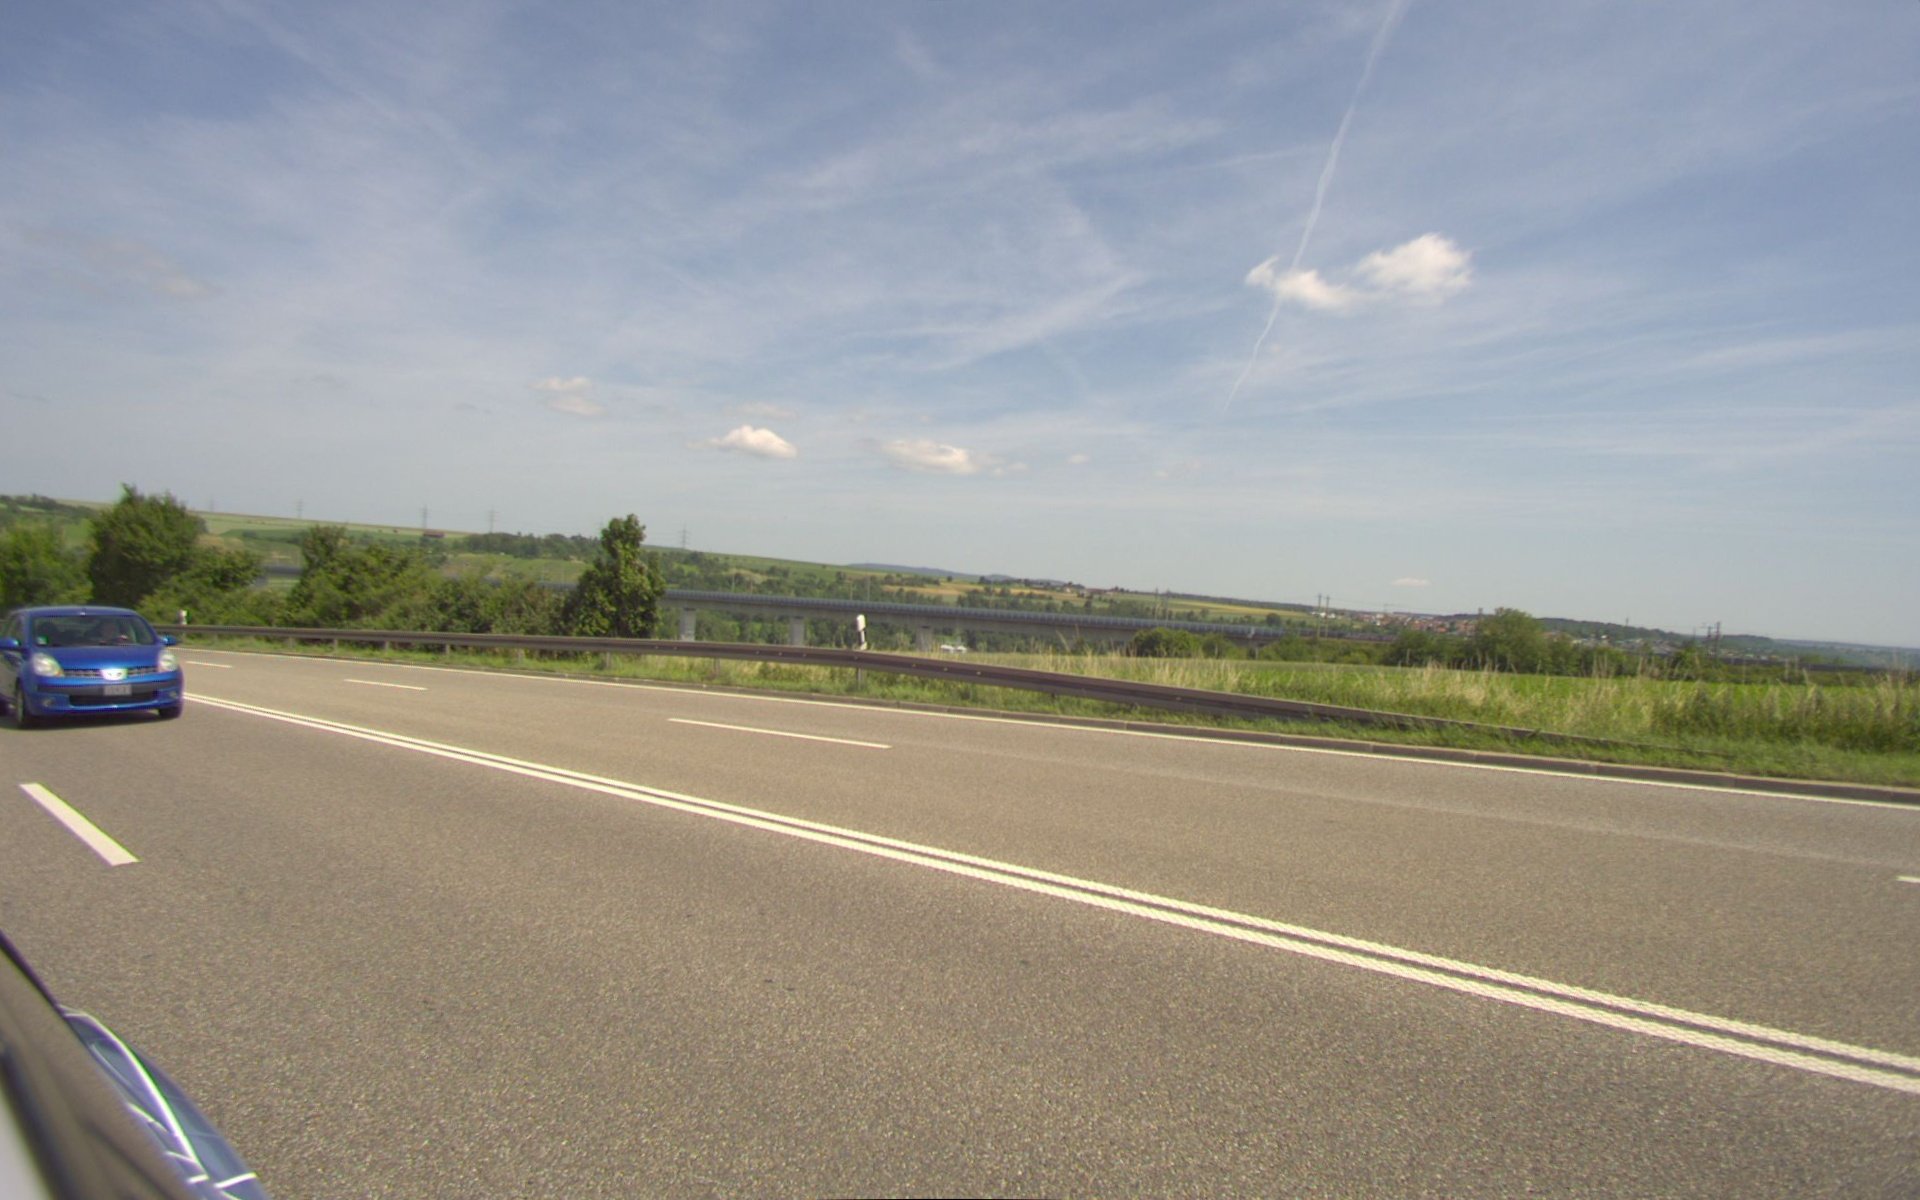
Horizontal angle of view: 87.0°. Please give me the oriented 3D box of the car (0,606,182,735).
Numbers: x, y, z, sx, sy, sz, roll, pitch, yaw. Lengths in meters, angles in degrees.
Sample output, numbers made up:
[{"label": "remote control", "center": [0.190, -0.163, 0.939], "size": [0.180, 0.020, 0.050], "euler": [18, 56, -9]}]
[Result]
[{"label": "car", "center": [-12.275, 0.860, 14.024], "size": [3.912, 1.542, 1.615], "euler": [-1, 0, 41]}]
